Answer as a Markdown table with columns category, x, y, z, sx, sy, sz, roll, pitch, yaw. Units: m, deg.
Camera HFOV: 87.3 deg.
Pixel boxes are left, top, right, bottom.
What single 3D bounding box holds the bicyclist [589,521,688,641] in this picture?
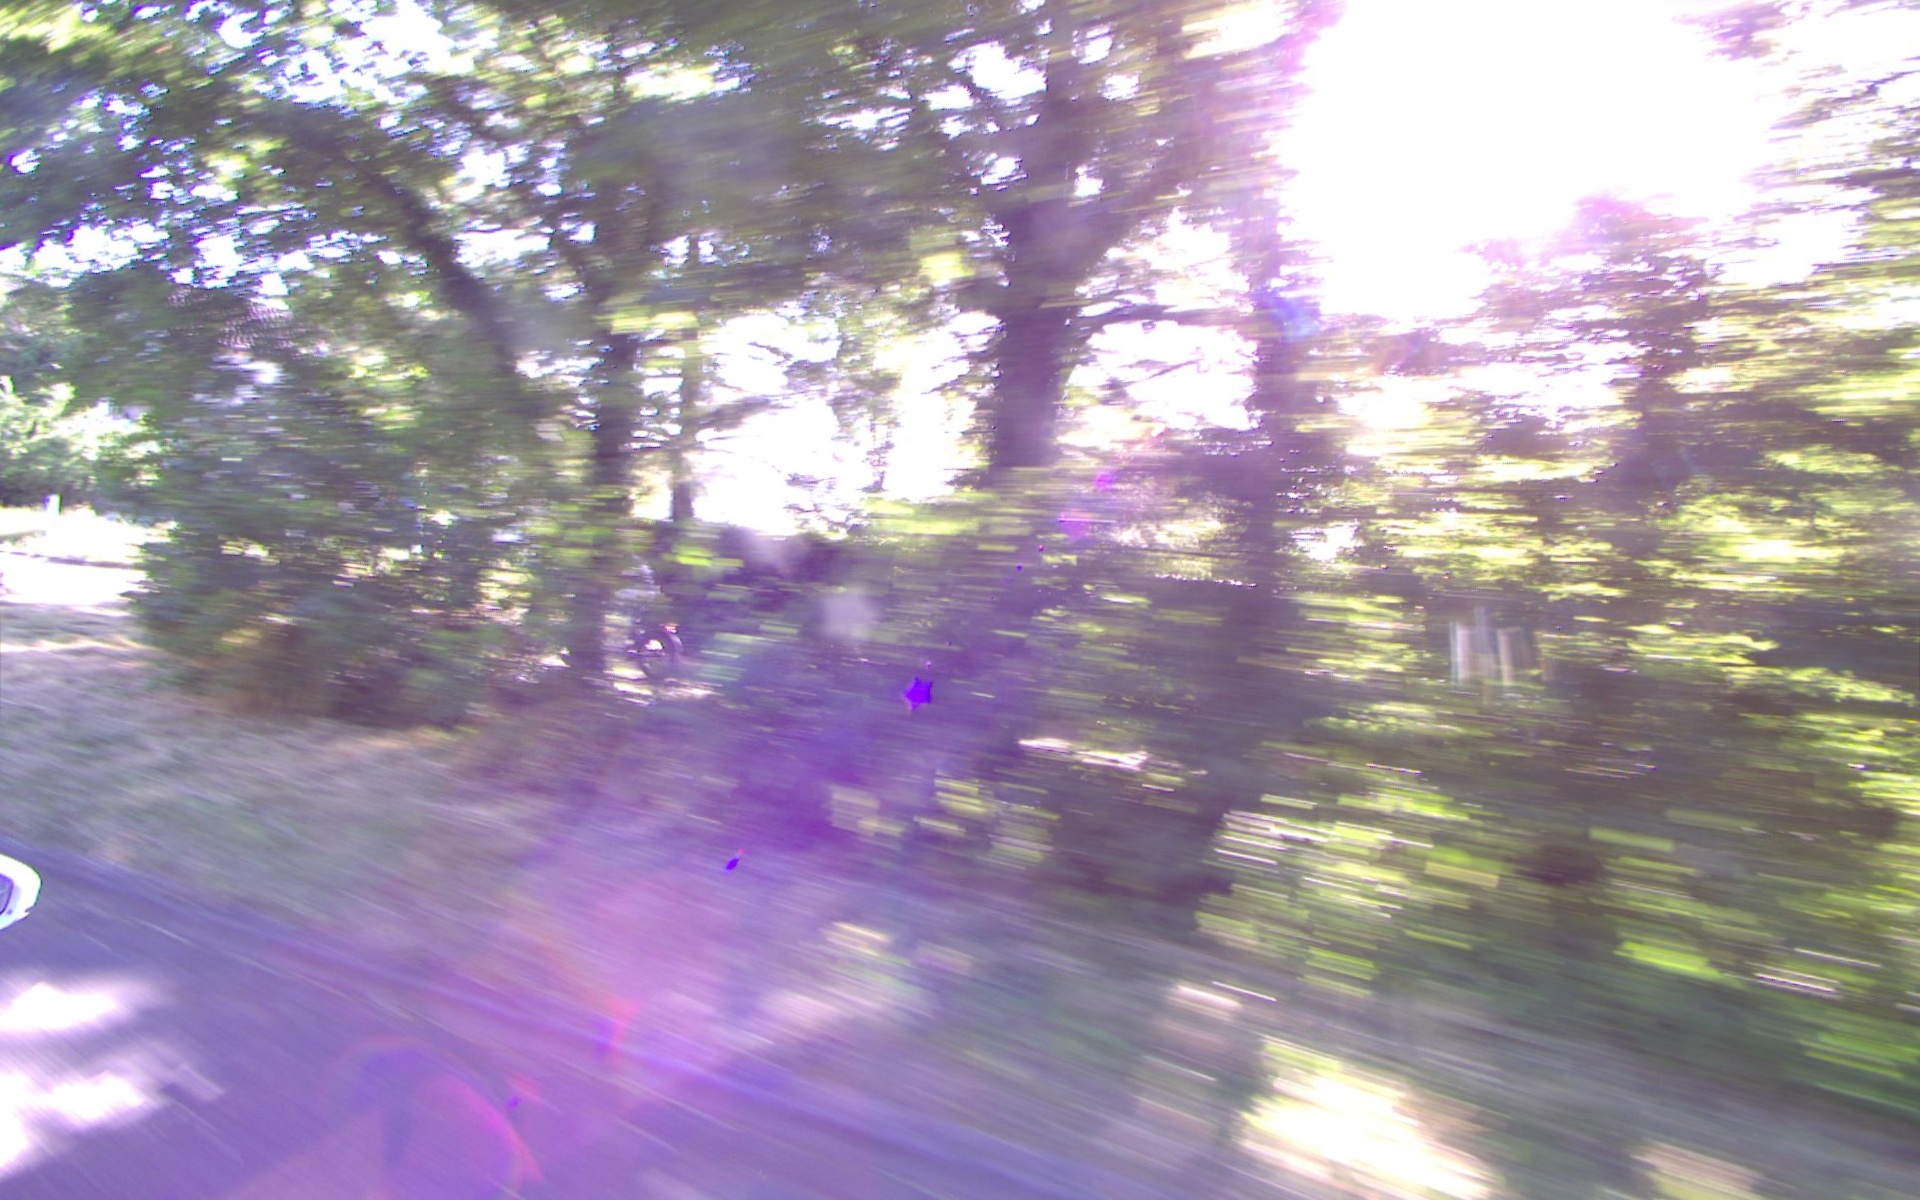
| category | x | y | z | sx | sy | sz | roll | pitch | yaw |
| --- | --- | --- | --- | --- | --- | --- | --- | --- | --- |
| bicyclist | -3.950 | -0.224 | 12.385 | 0.822 | 1.365 | 0.638 | 6 | 1 | 16 |

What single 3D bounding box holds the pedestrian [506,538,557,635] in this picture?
| category | x | y | z | sx | sy | sz | roll | pitch | yaw |
| --- | --- | --- | --- | --- | --- | --- | --- | --- | --- |
| pedestrian | -7.074 | -0.214 | 16.619 | 0.528 | 1.540 | 0.396 | 7 | 2 | 20 |

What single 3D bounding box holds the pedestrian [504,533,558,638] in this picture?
| category | x | y | z | sx | sy | sz | roll | pitch | yaw |
| --- | --- | --- | --- | --- | --- | --- | --- | --- | --- |
| pedestrian | -6.730 | -0.225 | 15.797 | 0.528 | 1.581 | 0.396 | 6 | 2 | -1 |

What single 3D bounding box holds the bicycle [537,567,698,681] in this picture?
| category | x | y | z | sx | sy | sz | roll | pitch | yaw |
| --- | --- | --- | --- | --- | --- | --- | --- | --- | --- |
| bicycle | -4.244 | 0.284 | 12.456 | 1.862 | 1.159 | 0.458 | 7 | 2 | 15 |
